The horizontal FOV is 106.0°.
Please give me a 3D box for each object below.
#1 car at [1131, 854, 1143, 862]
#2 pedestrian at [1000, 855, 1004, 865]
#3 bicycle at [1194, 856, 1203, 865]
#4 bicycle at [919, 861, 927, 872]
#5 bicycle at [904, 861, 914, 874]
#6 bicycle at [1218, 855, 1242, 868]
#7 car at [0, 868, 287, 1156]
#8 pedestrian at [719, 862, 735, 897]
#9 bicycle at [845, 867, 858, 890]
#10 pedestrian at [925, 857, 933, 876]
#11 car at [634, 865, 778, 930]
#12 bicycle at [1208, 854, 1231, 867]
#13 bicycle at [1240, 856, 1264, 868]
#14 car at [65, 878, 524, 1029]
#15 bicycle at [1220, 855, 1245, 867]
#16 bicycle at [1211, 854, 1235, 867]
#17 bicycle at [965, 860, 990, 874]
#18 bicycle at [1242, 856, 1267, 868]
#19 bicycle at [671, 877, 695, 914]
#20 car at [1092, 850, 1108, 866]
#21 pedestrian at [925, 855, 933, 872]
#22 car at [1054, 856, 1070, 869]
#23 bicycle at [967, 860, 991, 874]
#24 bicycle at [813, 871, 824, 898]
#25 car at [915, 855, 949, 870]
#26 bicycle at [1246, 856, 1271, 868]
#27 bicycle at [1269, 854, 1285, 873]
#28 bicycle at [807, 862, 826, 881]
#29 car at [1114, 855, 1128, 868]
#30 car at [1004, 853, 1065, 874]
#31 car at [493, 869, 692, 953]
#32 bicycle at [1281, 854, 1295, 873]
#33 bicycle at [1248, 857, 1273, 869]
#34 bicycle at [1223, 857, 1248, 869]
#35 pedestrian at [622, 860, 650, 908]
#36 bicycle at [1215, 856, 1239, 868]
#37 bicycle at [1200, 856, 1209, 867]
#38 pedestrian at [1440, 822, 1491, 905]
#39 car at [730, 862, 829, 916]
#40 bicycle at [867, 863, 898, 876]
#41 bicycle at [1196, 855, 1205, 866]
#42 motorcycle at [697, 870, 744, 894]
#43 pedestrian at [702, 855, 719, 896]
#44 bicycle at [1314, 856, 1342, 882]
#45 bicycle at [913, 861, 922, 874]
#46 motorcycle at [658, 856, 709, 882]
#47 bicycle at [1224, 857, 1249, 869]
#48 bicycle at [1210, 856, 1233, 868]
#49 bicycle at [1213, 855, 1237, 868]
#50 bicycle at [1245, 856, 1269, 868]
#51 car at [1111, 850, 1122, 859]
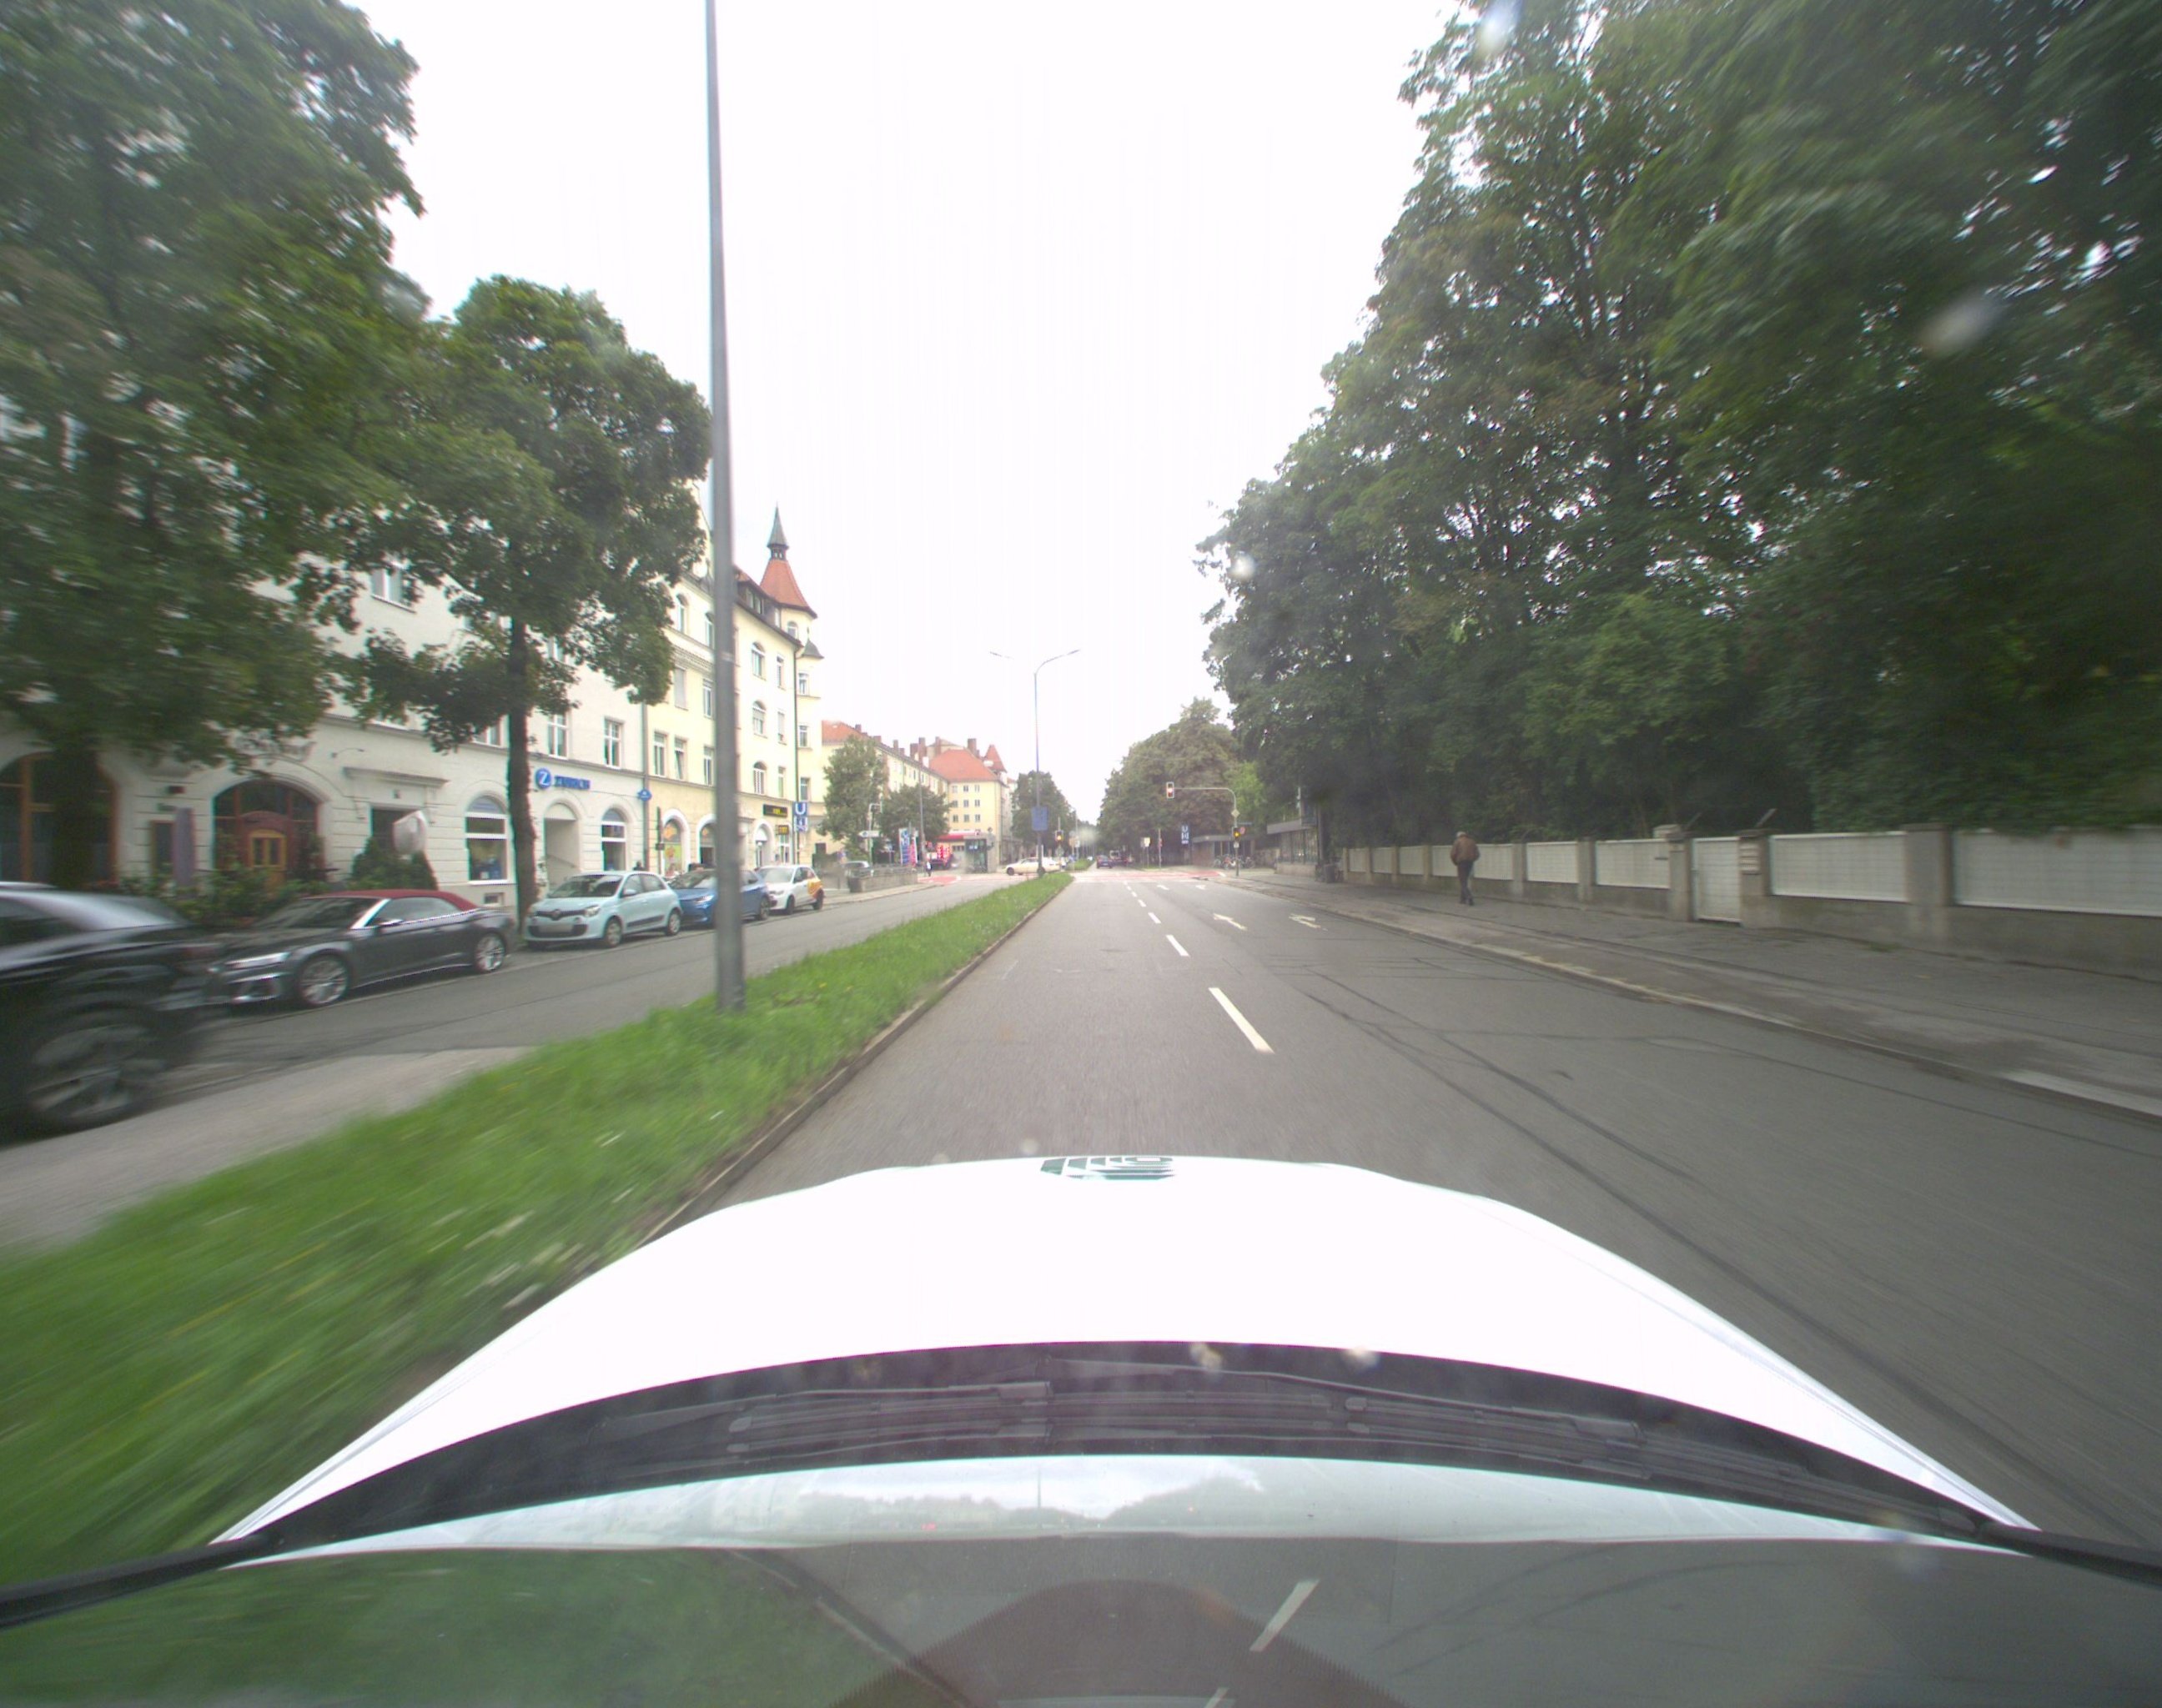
[{"bbox_3d":[9.243,0.638,133.928,1.737,1.363,3.807,-1,0,1],"label":"car"},{"bbox_3d":[-14.406,1.101,148.454,0.693,1.638,0.738,-1,0,1],"label":"pedestrian"},{"bbox_3d":[12.444,0.674,86.170,0.555,1.014,2.015,-1,0,0],"label":"bicycle"},{"bbox_3d":[-16.494,1.304,85.149,0.607,1.145,1.962,-1,0,-5],"label":"bicycle"},{"bbox_3d":[-16.939,1.345,80.180,0.607,1.236,2.183,-1,0,-5],"label":"bicycle"},{"bbox_3d":[13.351,0.707,73.108,2.130,1.101,0.604,-1,0,9],"label":"bicycle"},{"bbox_3d":[-7.044,0.956,3.851,1.868,1.585,4.622,-4,0,2],"label":"car"},{"bbox_3d":[-16.958,1.218,39.046,0.420,1.631,0.782,-1,0,-2],"label":"pedestrian"},{"bbox_3d":[-11.895,1.256,42.237,0.395,1.115,1.809,-1,0,-7],"label":"bicycle"},{"bbox_3d":[-13.803,1.159,73.899,0.531,1.695,0.579,-1,0,10],"label":"pedestrian"},{"bbox_3d":[-10.048,1.091,22.205,1.804,1.507,4.292,-1,0,2],"label":"car"},{"bbox_3d":[13.167,0.612,77.598,2.130,1.218,0.604,-1,0,9],"label":"bicycle"},{"bbox_3d":[15.767,0.727,75.052,2.130,1.014,0.636,-1,0,9],"label":"bicycle"},{"bbox_3d":[-10.353,1.175,11.397,1.804,1.507,4.647,-1,0,2],"label":"car"},{"bbox_3d":[13.490,0.620,72.576,2.130,1.071,0.604,-1,0,9],"label":"bicycle"},{"bbox_3d":[13.107,0.623,75.296,2.130,1.178,0.604,-1,0,9],"label":"bicycle"},{"bbox_3d":[-10.097,1.285,79.401,2.262,1.304,0.704,-2,0,2],"label":"bicycle"},{"bbox_3d":[15.800,0.721,74.266,2.130,1.014,0.636,-1,0,9],"label":"bicycle"},{"bbox_3d":[-13.013,1.339,26.591,0.551,1.115,1.863,-1,0,-30],"label":"bicycle"},{"bbox_3d":[2.185,0.466,93.854,1.850,1.684,4.001,-1,0,1],"label":"car"},{"bbox_3d":[-15.400,0.996,82.444,0.593,1.695,0.571,-1,0,-29],"label":"pedestrian"},{"bbox_3d":[-2.216,0.977,96.007,1.753,1.493,4.001,-1,0,1],"label":"car"},{"bbox_3d":[-10.052,1.275,80.180,2.276,1.304,0.694,-2,0,2],"label":"bicycle"},{"bbox_3d":[-11.228,1.294,34.824,0.330,1.115,1.668,-1,0,-22],"label":"bicycle"},{"bbox_3d":[-19.488,1.085,106.647,3.976,1.838,1.879,-1,0,-2],"label":"car"},{"bbox_3d":[15.833,0.707,72.703,2.130,1.014,0.636,-1,0,9],"label":"bicycle"},{"bbox_3d":[12.048,0.608,50.127,0.597,1.121,1.890,-1,-1,2],"label":"bicycle"},{"bbox_3d":[-14.707,0.971,45.308,0.471,0.980,1.546,-1,0,2],"label":"bicycle"},{"bbox_3d":[5.503,1.051,112.350,1.915,1.684,4.001,0,-1,2],"label":"car"},{"bbox_3d":[-3.871,0.781,67.513,4.722,1.647,1.795,-1,0,25],"label":"car"},{"bbox_3d":[-10.319,1.135,17.616,1.804,1.507,3.961,-1,0,2],"label":"car"},{"bbox_3d":[12.733,0.587,50.134,0.467,1.121,1.736,-1,-1,2],"label":"bicycle"},{"bbox_3d":[15.865,0.800,71.904,2.130,1.014,0.636,-1,0,9],"label":"bicycle"},{"bbox_3d":[13.457,0.802,71.020,2.130,1.014,0.604,-1,0,9],"label":"bicycle"},{"bbox_3d":[-16.030,1.056,29.356,0.541,1.697,0.770,-1,0,-1],"label":"pedestrian"},{"bbox_3d":[13.241,0.719,73.825,2.130,1.014,0.604,-1,0,9],"label":"bicycle"},{"bbox_3d":[12.186,0.730,80.136,0.555,1.014,2.015,-1,0,0],"label":"bicycle"},{"bbox_3d":[9.364,0.228,19.860,0.775,1.942,0.802,-3,0,1],"label":"pedestrian"},{"bbox_3d":[-9.831,1.091,26.881,1.642,1.585,3.793,-1,0,3],"label":"car"},{"bbox_3d":[-18.660,1.438,76.459,2.720,1.251,0.786,1,-1,-29],"label":"bicycle"},{"bbox_3d":[12.183,0.647,82.866,0.555,1.014,2.015,-1,0,0],"label":"bicycle"},{"bbox_3d":[-17.282,1.329,39.107,0.602,1.122,1.999,-2,-1,41],"label":"motorcycle"},{"bbox_3d":[-15.872,0.901,34.899,0.594,1.697,0.937,-1,0,-26],"label":"pedestrian"},{"bbox_3d":[10.593,0.633,35.000,0.620,1.090,2.026,-1,0,1],"label":"bicycle"},{"bbox_3d":[-16.261,1.332,80.997,0.607,1.236,2.183,-1,0,-5],"label":"bicycle"},{"bbox_3d":[-17.824,0.654,36.563,0.602,1.130,1.999,-2,-1,41],"label":"motorcycle"},{"bbox_3d":[13.672,0.789,71.640,2.130,1.014,0.636,-1,0,9],"label":"bicycle"},{"bbox_3d":[13.098,0.711,75.997,2.130,1.062,0.604,-1,0,9],"label":"bicycle"},{"bbox_3d":[13.204,0.669,74.466,2.130,1.086,0.604,-1,0,9],"label":"bicycle"},{"bbox_3d":[15.860,0.716,73.470,2.130,1.014,0.636,-1,0,9],"label":"bicycle"},{"bbox_3d":[7.396,0.148,169.759,1.986,1.756,4.001,-2,0,1],"label":"car"}]
